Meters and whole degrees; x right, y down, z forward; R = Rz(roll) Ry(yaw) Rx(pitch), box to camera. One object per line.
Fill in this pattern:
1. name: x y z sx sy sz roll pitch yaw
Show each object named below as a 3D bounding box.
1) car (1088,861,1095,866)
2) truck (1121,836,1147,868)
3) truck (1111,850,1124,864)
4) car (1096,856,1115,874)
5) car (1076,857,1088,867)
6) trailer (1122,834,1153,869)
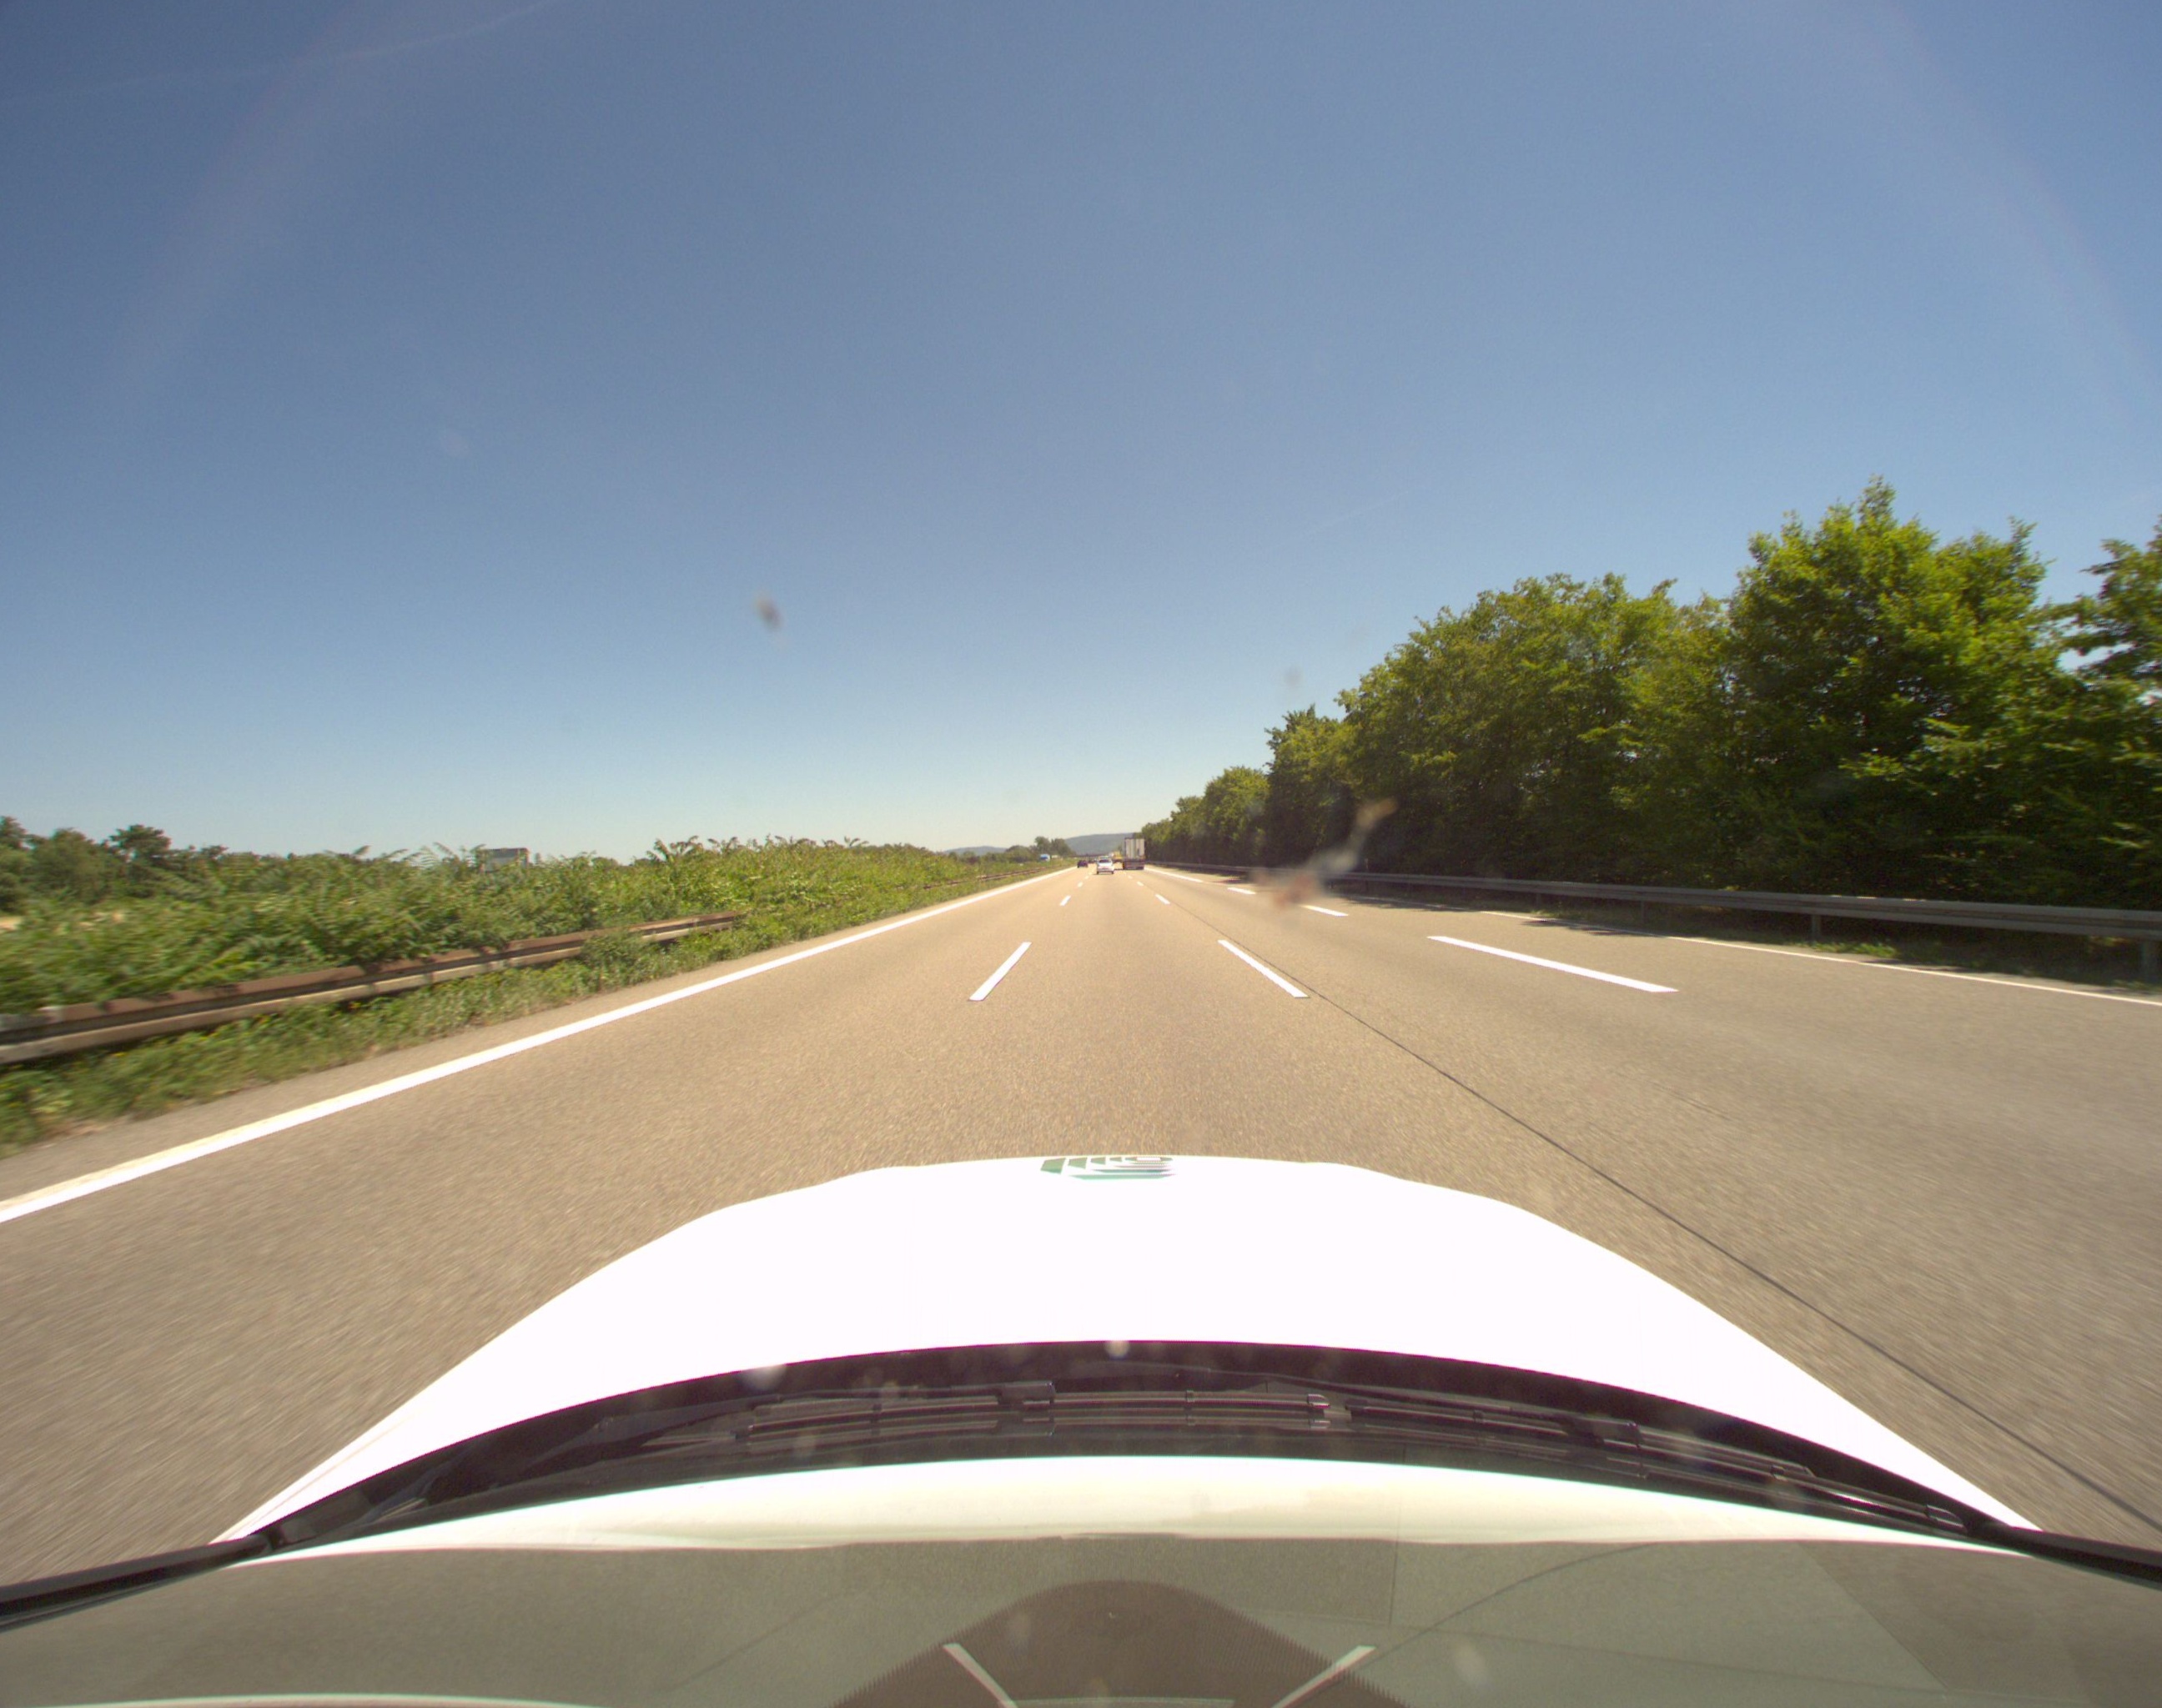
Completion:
1. car: 3.091 2.760 238.031 1.789 1.551 4.001 -1 -1 1
2. truck: 7.480 -0.234 115.685 3.207 4.345 6.590 0 0 1
3. truck: 11.540 0.903 258.395 3.857 4.345 13.863 0 0 1
4. car: 2.414 1.028 79.698 1.726 1.684 4.000 -2 0 1
5. car: 0.212 1.402 139.040 1.987 1.712 4.000 0 0 0
6. trailer: 7.387 -0.279 108.170 3.207 4.345 13.629 0 0 1
